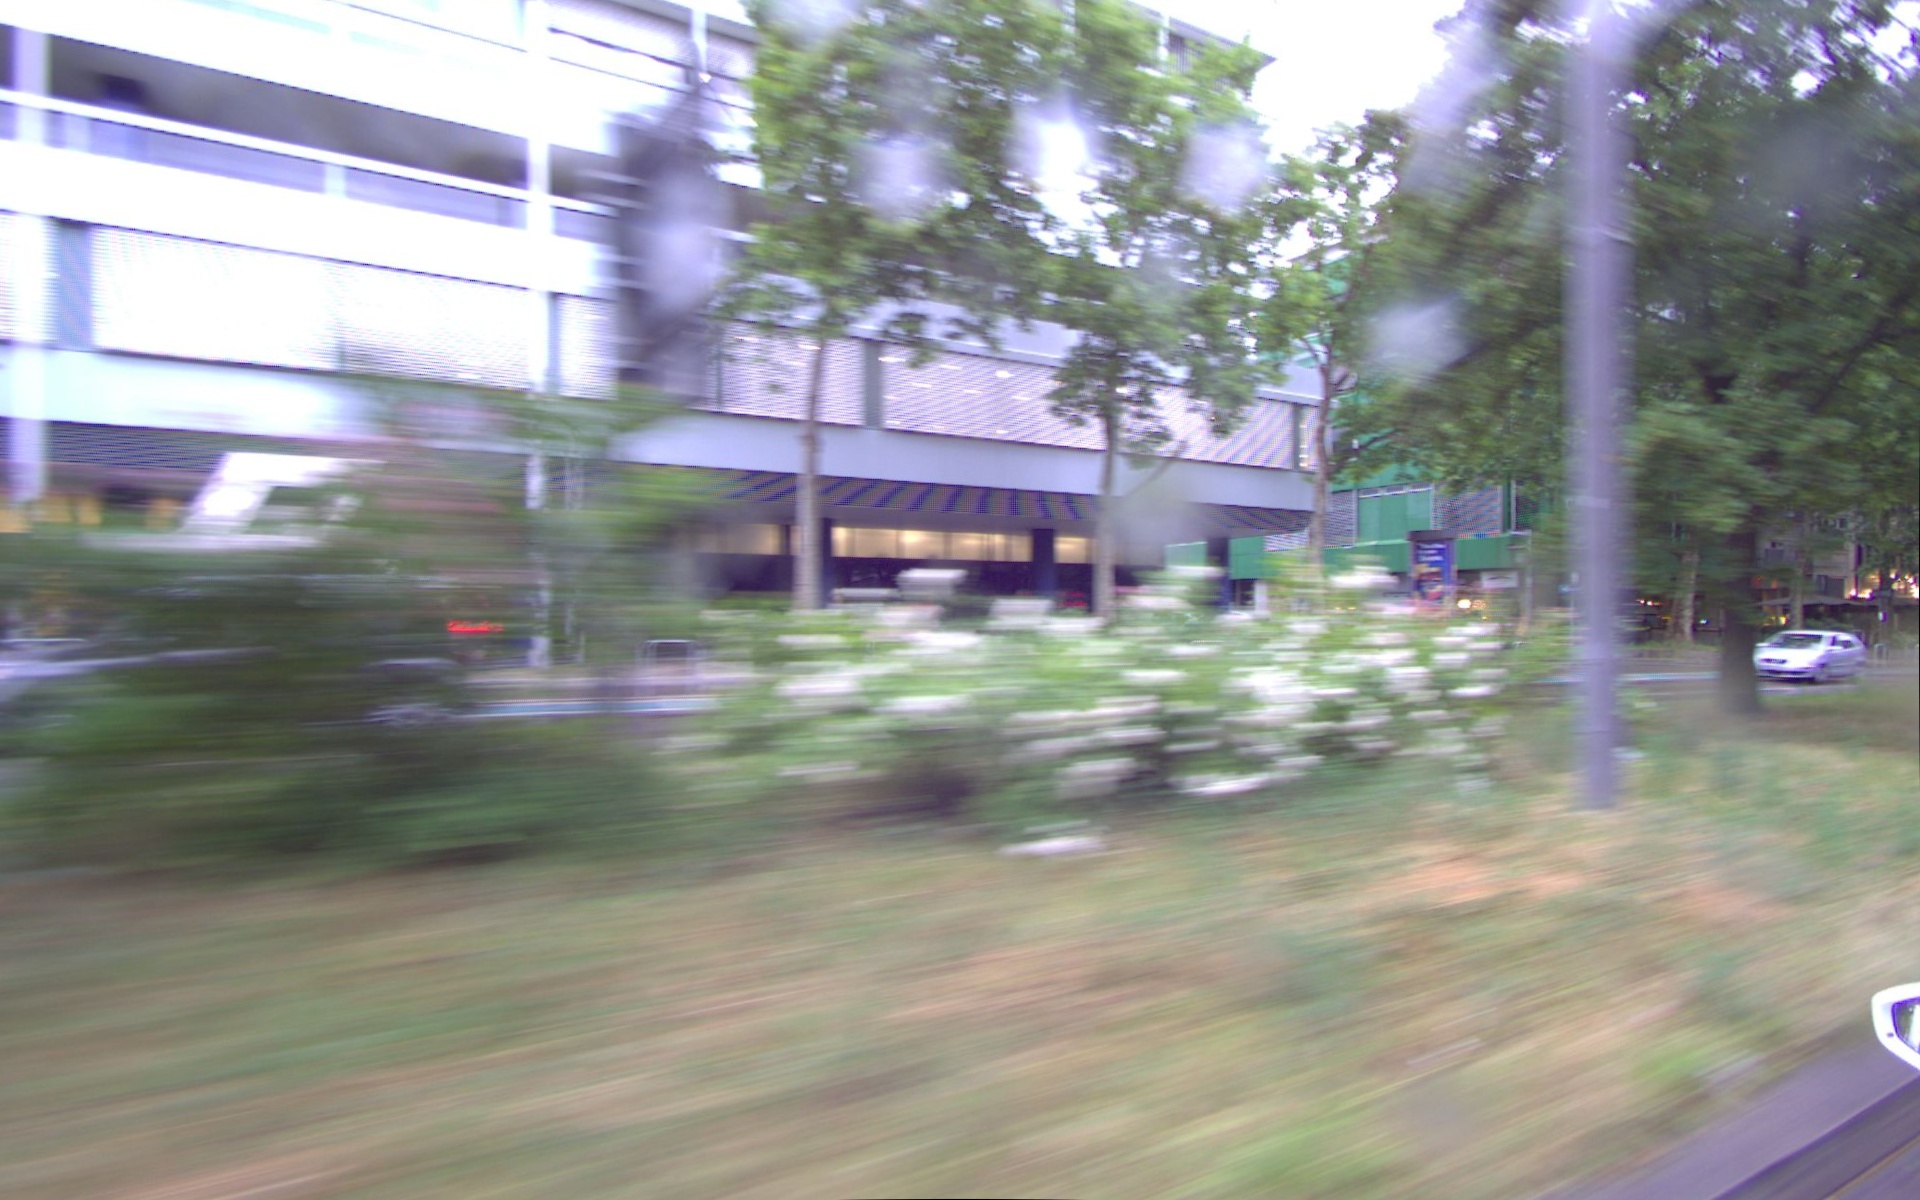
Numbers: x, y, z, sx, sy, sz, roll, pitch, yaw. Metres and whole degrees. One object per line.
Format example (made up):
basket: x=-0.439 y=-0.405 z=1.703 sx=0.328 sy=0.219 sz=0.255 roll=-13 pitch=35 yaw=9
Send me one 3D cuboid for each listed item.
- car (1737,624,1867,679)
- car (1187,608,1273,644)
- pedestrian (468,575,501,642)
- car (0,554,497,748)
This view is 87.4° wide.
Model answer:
car: x=24.087 y=1.458 z=28.730 sx=3.767 sy=1.454 sz=1.641 roll=2 pitch=-1 yaw=-30
car: x=11.940 y=1.134 z=44.591 sx=1.665 sy=1.396 sz=3.479 roll=2 pitch=1 yaw=-32
pedestrian: x=-10.875 y=0.198 z=22.988 sx=0.569 sy=1.502 sz=0.606 roll=2 pitch=1 yaw=-33
car: x=-7.645 y=0.475 z=10.930 sx=4.617 sy=1.780 sz=1.906 roll=1 pitch=1 yaw=-29
